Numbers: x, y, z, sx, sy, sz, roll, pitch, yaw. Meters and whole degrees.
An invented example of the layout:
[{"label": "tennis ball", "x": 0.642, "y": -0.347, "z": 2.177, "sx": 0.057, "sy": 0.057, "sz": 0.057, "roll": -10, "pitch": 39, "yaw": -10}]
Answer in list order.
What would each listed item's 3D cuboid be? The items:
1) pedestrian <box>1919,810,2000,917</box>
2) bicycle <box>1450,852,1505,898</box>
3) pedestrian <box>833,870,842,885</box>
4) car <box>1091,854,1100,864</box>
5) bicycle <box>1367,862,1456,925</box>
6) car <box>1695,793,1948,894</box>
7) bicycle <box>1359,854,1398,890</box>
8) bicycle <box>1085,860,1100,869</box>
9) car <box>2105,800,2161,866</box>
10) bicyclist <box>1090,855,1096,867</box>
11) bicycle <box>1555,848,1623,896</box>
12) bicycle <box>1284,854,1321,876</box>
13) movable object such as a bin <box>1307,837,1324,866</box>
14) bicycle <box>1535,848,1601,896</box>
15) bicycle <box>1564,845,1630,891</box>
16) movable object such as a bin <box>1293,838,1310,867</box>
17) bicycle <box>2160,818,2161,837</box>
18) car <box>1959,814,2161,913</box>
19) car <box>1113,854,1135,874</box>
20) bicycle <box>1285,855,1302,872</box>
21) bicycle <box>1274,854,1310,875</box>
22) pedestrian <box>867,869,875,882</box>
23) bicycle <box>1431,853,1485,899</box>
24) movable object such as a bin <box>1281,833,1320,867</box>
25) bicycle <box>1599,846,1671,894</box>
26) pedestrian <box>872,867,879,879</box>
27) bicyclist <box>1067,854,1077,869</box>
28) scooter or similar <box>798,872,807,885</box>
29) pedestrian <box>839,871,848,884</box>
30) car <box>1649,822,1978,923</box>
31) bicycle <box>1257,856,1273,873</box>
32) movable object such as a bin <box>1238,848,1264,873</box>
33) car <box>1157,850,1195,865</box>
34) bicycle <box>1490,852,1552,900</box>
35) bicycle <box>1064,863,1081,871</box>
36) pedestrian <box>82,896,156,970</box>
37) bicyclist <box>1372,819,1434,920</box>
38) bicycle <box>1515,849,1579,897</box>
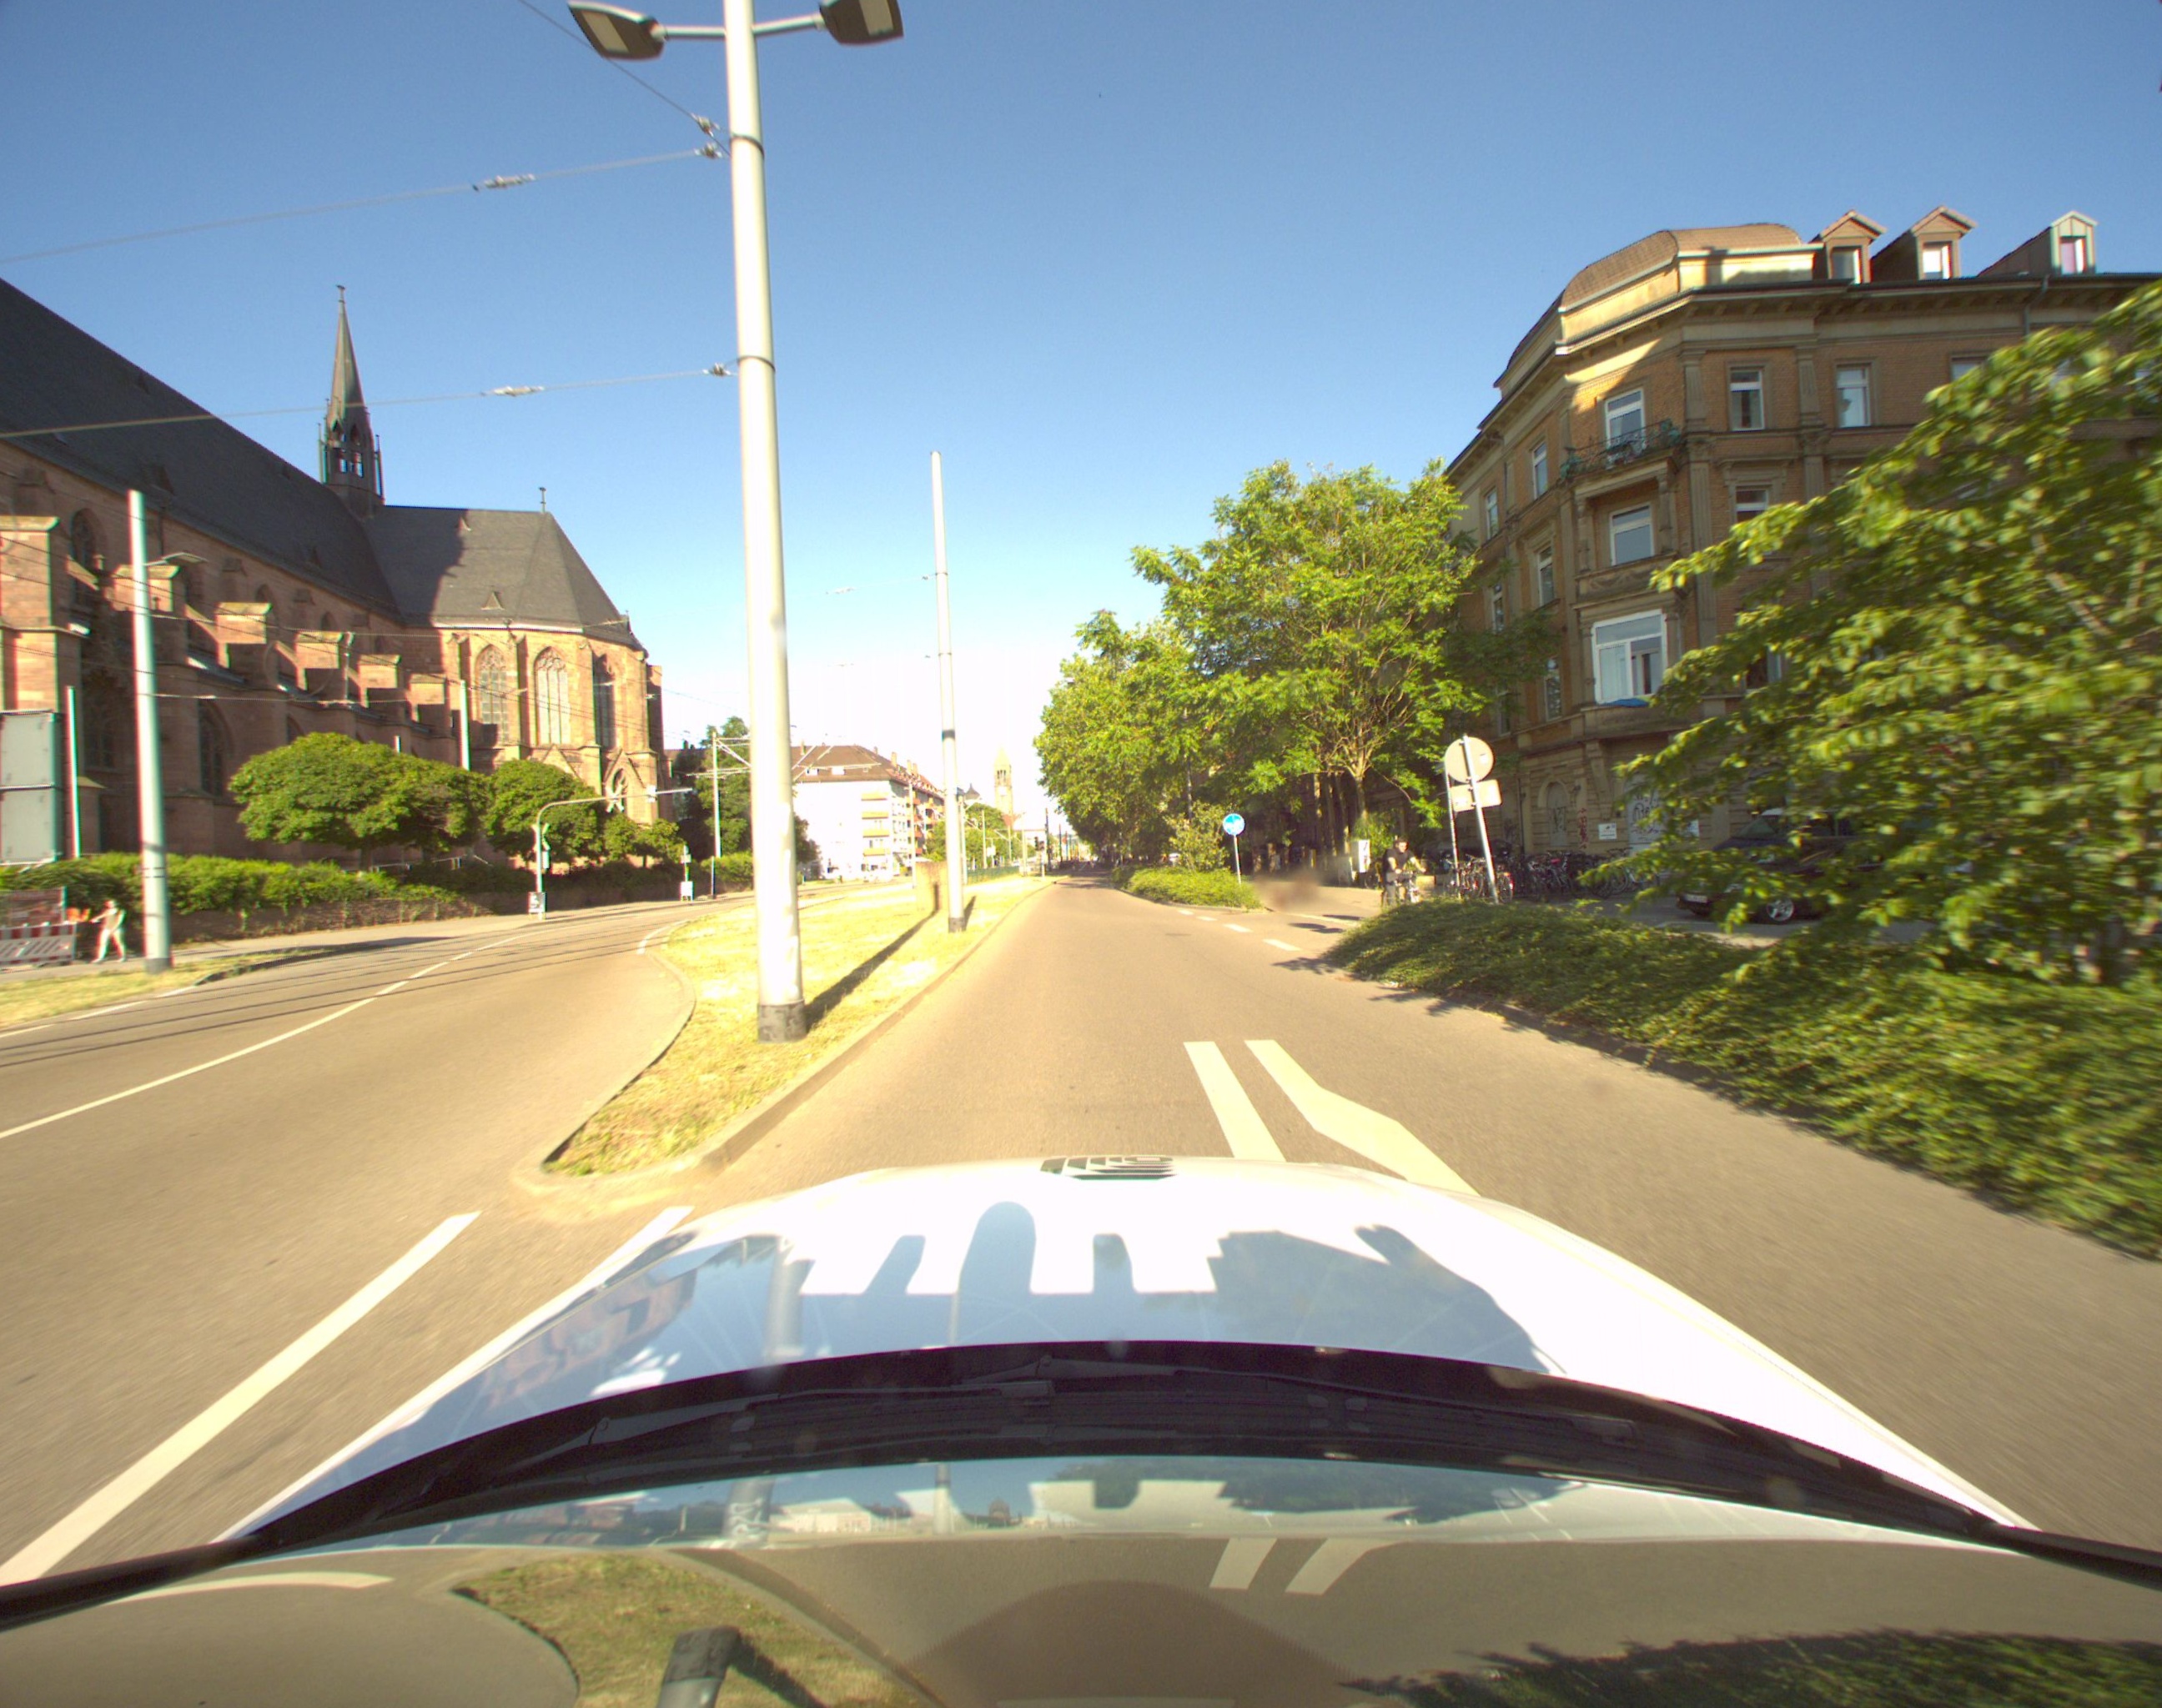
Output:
[{"label": "pedestrian", "x": 13.142, "y": 0.137, "z": 12.204, "sx": 0.694, "sy": 1.534, "sz": 0.666, "roll": -4, "pitch": -1, "yaw": 41}, {"label": "bicycle", "x": 10.370, "y": 0.517, "z": 21.372, "sx": 0.516, "sy": 1.047, "sz": 1.821, "roll": -4, "pitch": 2, "yaw": 0}, {"label": "pedestrian", "x": -27.737, "y": 2.663, "z": 92.831, "sx": 0.641, "sy": 1.598, "sz": 0.898, "roll": -4, "pitch": 2, "yaw": 1}, {"label": "car", "x": 3.183, "y": 1.082, "z": 178.414, "sx": 1.986, "sy": 2.107, "sz": 4.001, "roll": -1, "pitch": -1, "yaw": 1}, {"label": "bicycle", "x": 6.158, "y": 0.712, "z": 15.337, "sx": 0.639, "sy": 1.048, "sz": 2.359, "roll": -4, "pitch": -1, "yaw": 0}, {"label": "car", "x": 17.715, "y": -0.286, "z": 19.617, "sx": 4.564, "sy": 2.124, "sz": 1.775, "roll": -3, "pitch": 2, "yaw": -2}, {"label": "bicycle", "x": 9.324, "y": 0.533, "z": 25.600, "sx": 0.524, "sy": 0.988, "sz": 1.722, "roll": -4, "pitch": 2, "yaw": -1}, {"label": "bicycle", "x": 1.564, "y": 1.359, "z": 110.152, "sx": 1.813, "sy": 1.047, "sz": 0.572, "roll": -4, "pitch": 2, "yaw": -8}, {"label": "car", "x": 28.005, "y": -0.630, "z": 19.712, "sx": 4.146, "sy": 1.507, "sz": 1.793, "roll": -4, "pitch": 2, "yaw": 1}, {"label": "bicyclist", "x": 1.621, "y": 1.004, "z": 110.154, "sx": 0.749, "sy": 1.557, "sz": 0.572, "roll": -4, "pitch": 2, "yaw": -8}, {"label": "bicycle", "x": 12.675, "y": 0.417, "z": 20.364, "sx": 0.516, "sy": 1.047, "sz": 1.821, "roll": -4, "pitch": 2, "yaw": 0}, {"label": "bicycle", "x": 10.968, "y": 0.531, "z": 40.408, "sx": 1.646, "sy": 0.924, "sz": 0.539, "roll": -4, "pitch": 2, "yaw": 1}, {"label": "movable object such as a bin", "x": 14.433, "y": -0.146, "z": 50.080, "sx": 0.752, "sy": 1.692, "sz": 0.742, "roll": -4, "pitch": 2, "yaw": -2}, {"label": "bicycle", "x": 12.144, "y": 0.412, "z": 20.354, "sx": 0.516, "sy": 1.047, "sz": 1.821, "roll": -4, "pitch": 2, "yaw": 0}, {"label": "bicycle", "x": 13.313, "y": 0.340, "z": 21.055, "sx": 0.516, "sy": 1.047, "sz": 1.821, "roll": -4, "pitch": 2, "yaw": 0}, {"label": "movable object such as a bin", "x": 13.567, "y": -0.082, "z": 50.054, "sx": 0.752, "sy": 1.692, "sz": 0.742, "roll": -4, "pitch": 2, "yaw": -2}, {"label": "bicycle", "x": 12.293, "y": 0.171, "z": 8.053, "sx": 0.489, "sy": 1.239, "sz": 1.883, "roll": -4, "pitch": -2, "yaw": -8}, {"label": "car", "x": 18.506, "y": 0.097, "z": 14.243, "sx": 4.233, "sy": 1.415, "sz": 1.815, "roll": -3, "pitch": 3, "yaw": 3}, {"label": "car", "x": 3.633, "y": 0.848, "z": 68.820, "sx": 1.638, "sy": 1.511, "sz": 4.184, "roll": -4, "pitch": 0, "yaw": 1}, {"label": "bicycle", "x": 11.916, "y": 0.527, "z": 45.679, "sx": 0.766, "sy": 0.854, "sz": 0.375, "roll": -4, "pitch": 2, "yaw": -3}, {"label": "bicycle", "x": 10.747, "y": 0.533, "z": 41.533, "sx": 1.646, "sy": 0.924, "sz": 0.539, "roll": -4, "pitch": 2, "yaw": 1}, {"label": "pedestrian", "x": -24.948, "y": 2.577, "z": 96.793, "sx": 0.685, "sy": 1.467, "sz": 0.592, "roll": -4, "pitch": 2, "yaw": 4}, {"label": "bicycle", "x": 9.861, "y": 0.554, "z": 21.370, "sx": 0.516, "sy": 1.047, "sz": 1.821, "roll": -4, "pitch": 2, "yaw": 0}, {"label": "movable object such as a bin", "x": 14.012, "y": -0.273, "z": 52.159, "sx": 1.541, "sy": 1.996, "sz": 3.230, "roll": -4, "pitch": 0, "yaw": 0}, {"label": "bicycle", "x": 13.851, "y": 0.372, "z": 20.418, "sx": 0.516, "sy": 1.047, "sz": 1.821, "roll": -4, "pitch": 2, "yaw": 0}, {"label": "pedestrian", "x": -26.795, "y": 2.481, "z": 106.194, "sx": 0.593, "sy": 1.467, "sz": 0.907, "roll": -5, "pitch": 3, "yaw": -29}, {"label": "bicyclist", "x": -1.210, "y": 0.996, "z": 108.225, "sx": 1.137, "sy": 1.890, "sz": 0.682, "roll": -4, "pitch": 2, "yaw": 0}, {"label": "scooter or similar", "x": -29.769, "y": 2.592, "z": 87.021, "sx": 0.400, "sy": 1.261, "sz": 1.231, "roll": -4, "pitch": 2, "yaw": 1}, {"label": "pedestrian", "x": -27.075, "y": 2.679, "z": 92.835, "sx": 0.587, "sy": 1.467, "sz": 0.916, "roll": -4, "pitch": 2, "yaw": 1}, {"label": "car", "x": 12.864, "y": 0.280, "z": 14.500, "sx": 4.237, "sy": 1.415, "sz": 1.813, "roll": -4, "pitch": 2, "yaw": 0}, {"label": "bicycle", "x": 10.331, "y": 0.578, "z": 45.647, "sx": 0.766, "sy": 0.854, "sz": 0.375, "roll": -4, "pitch": 2, "yaw": -3}, {"label": "movable object such as a bin", "x": 10.461, "y": 0.398, "z": 50.165, "sx": 1.228, "sy": 1.382, "sz": 1.257, "roll": -4, "pitch": 0, "yaw": -1}, {"label": "car", "x": 10.694, "y": 0.419, "z": 91.921, "sx": 3.959, "sy": 1.420, "sz": 2.007, "roll": -4, "pitch": 0, "yaw": 12}, {"label": "bicycle", "x": 10.960, "y": 0.521, "z": 20.326, "sx": 0.516, "sy": 1.047, "sz": 1.821, "roll": -4, "pitch": 2, "yaw": 0}, {"label": "bicycle", "x": -1.110, "y": 1.746, "z": 108.258, "sx": 2.234, "sy": 0.976, "sz": 0.682, "roll": -3, "pitch": 2, "yaw": -1}, {"label": "pedestrian", "x": -25.246, "y": 2.050, "z": 21.387, "sx": 0.726, "sy": 1.773, "sz": 0.863, "roll": -4, "pitch": 2, "yaw": -3}, {"label": "bicyclist", "x": 6.128, "y": 0.297, "z": 15.541, "sx": 0.639, "sy": 1.815, "sz": 1.052, "roll": -4, "pitch": -1, "yaw": 0}, {"label": "bicycle", "x": 11.596, "y": 0.453, "z": 20.331, "sx": 0.516, "sy": 1.047, "sz": 1.821, "roll": -4, "pitch": 2, "yaw": 0}]
